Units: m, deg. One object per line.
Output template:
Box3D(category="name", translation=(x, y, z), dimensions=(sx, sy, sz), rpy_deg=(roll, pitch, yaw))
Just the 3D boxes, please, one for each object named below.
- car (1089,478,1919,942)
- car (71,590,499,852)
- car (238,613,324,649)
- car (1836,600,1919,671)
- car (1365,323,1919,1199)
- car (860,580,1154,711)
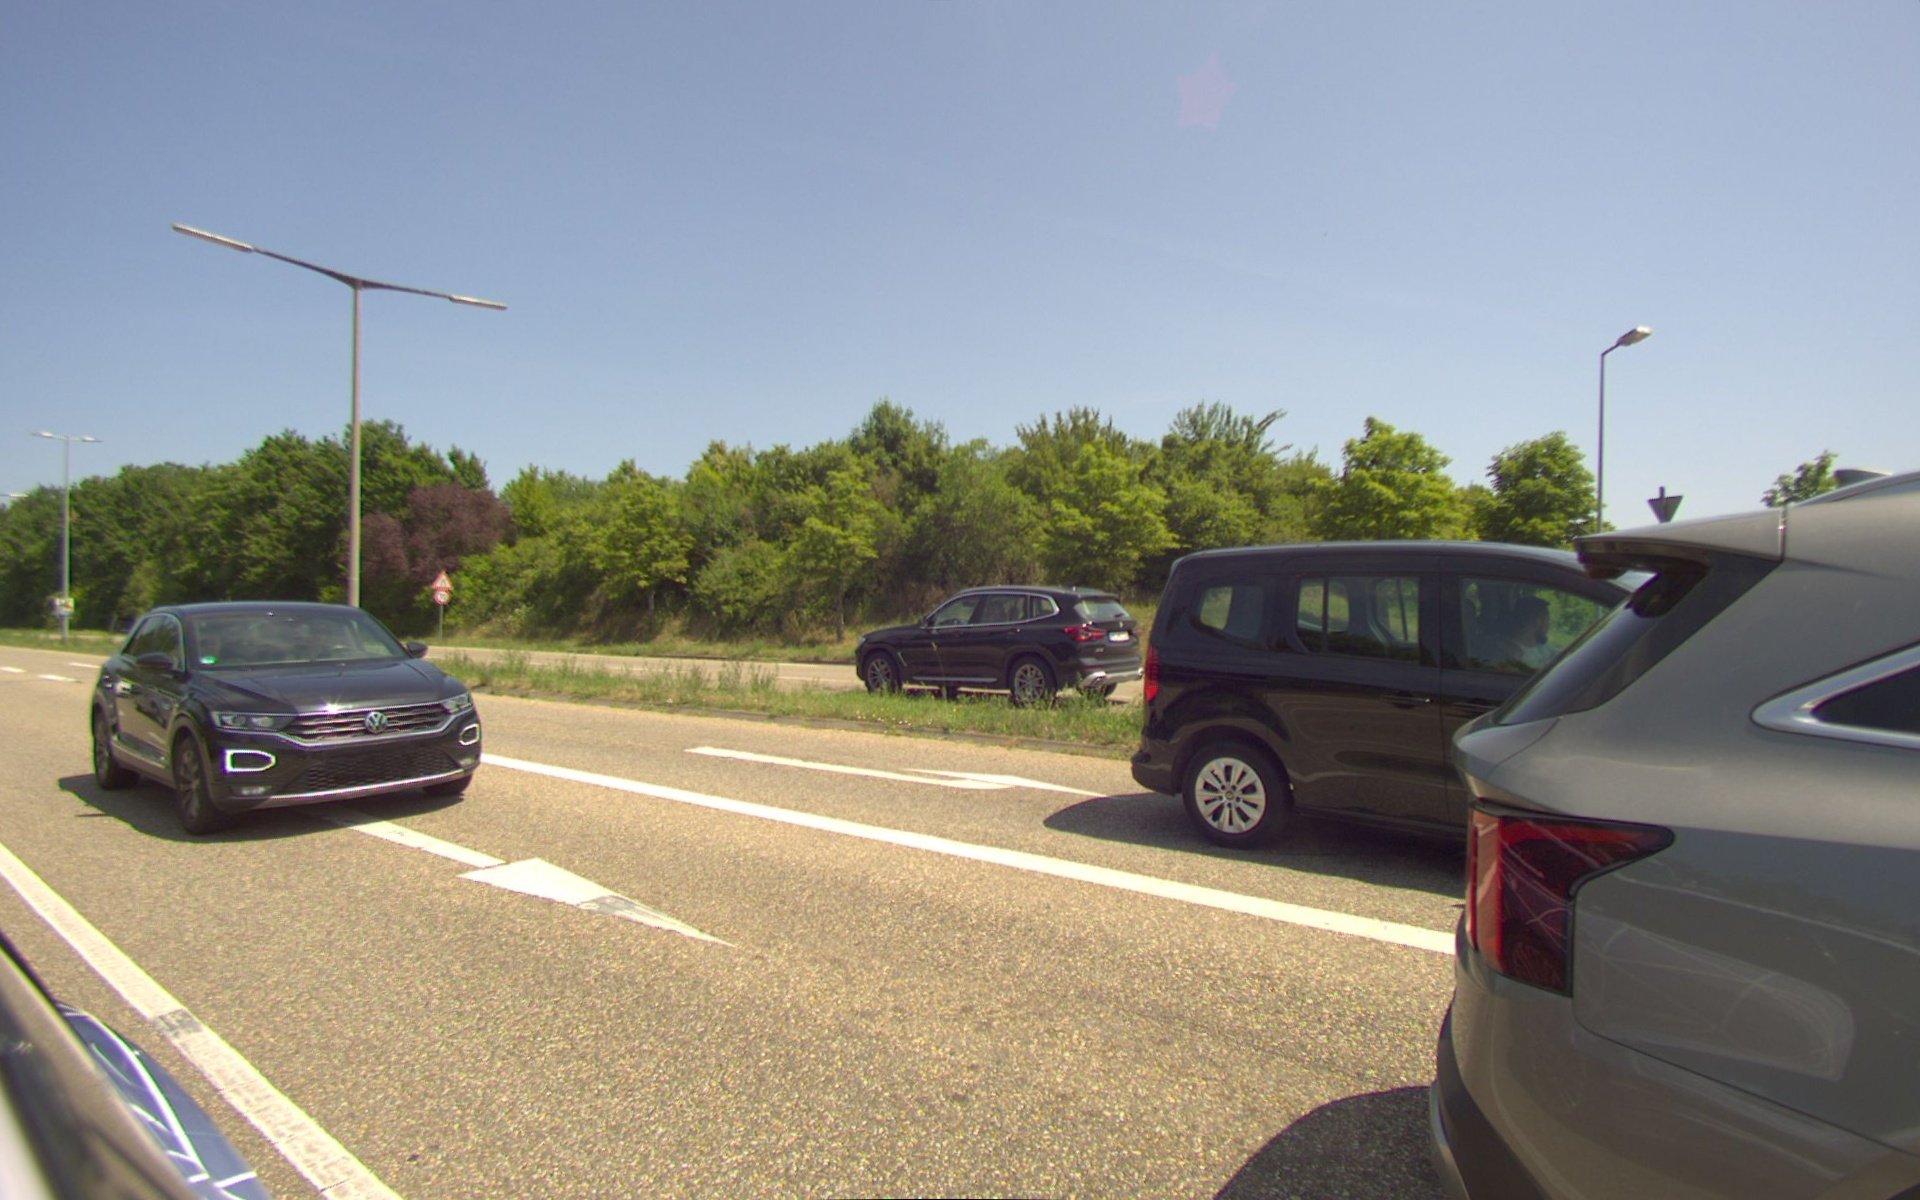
Box3D(category="car", translation=(3.035, 0.460, 5.718), dimensions=(4.315, 1.840, 1.715), rpy_deg=(-1, -1, 38))
Box3D(category="car", translation=(-5.378, 0.724, 7.868), dimensions=(3.967, 1.523, 1.717), rpy_deg=(-1, 0, 40))
Box3D(category="car", translation=(-28.890, 1.299, 43.025), dimensions=(4.162, 1.467, 1.805), rpy_deg=(-1, -1, 38))
Box3D(category="car", translation=(22.005, 0.855, 23.326), dimensions=(4.239, 1.513, 1.883), rpy_deg=(2, -5, -38))
Box3D(category="car", translation=(2.978, 0.509, 0.784), dimensions=(4.640, 1.675, 1.786), rpy_deg=(-1, -1, 40))
Box3D(category="car", translation=(0.592, 0.625, 15.007), dimensions=(4.219, 1.676, 1.689), rpy_deg=(-1, -1, 40))
